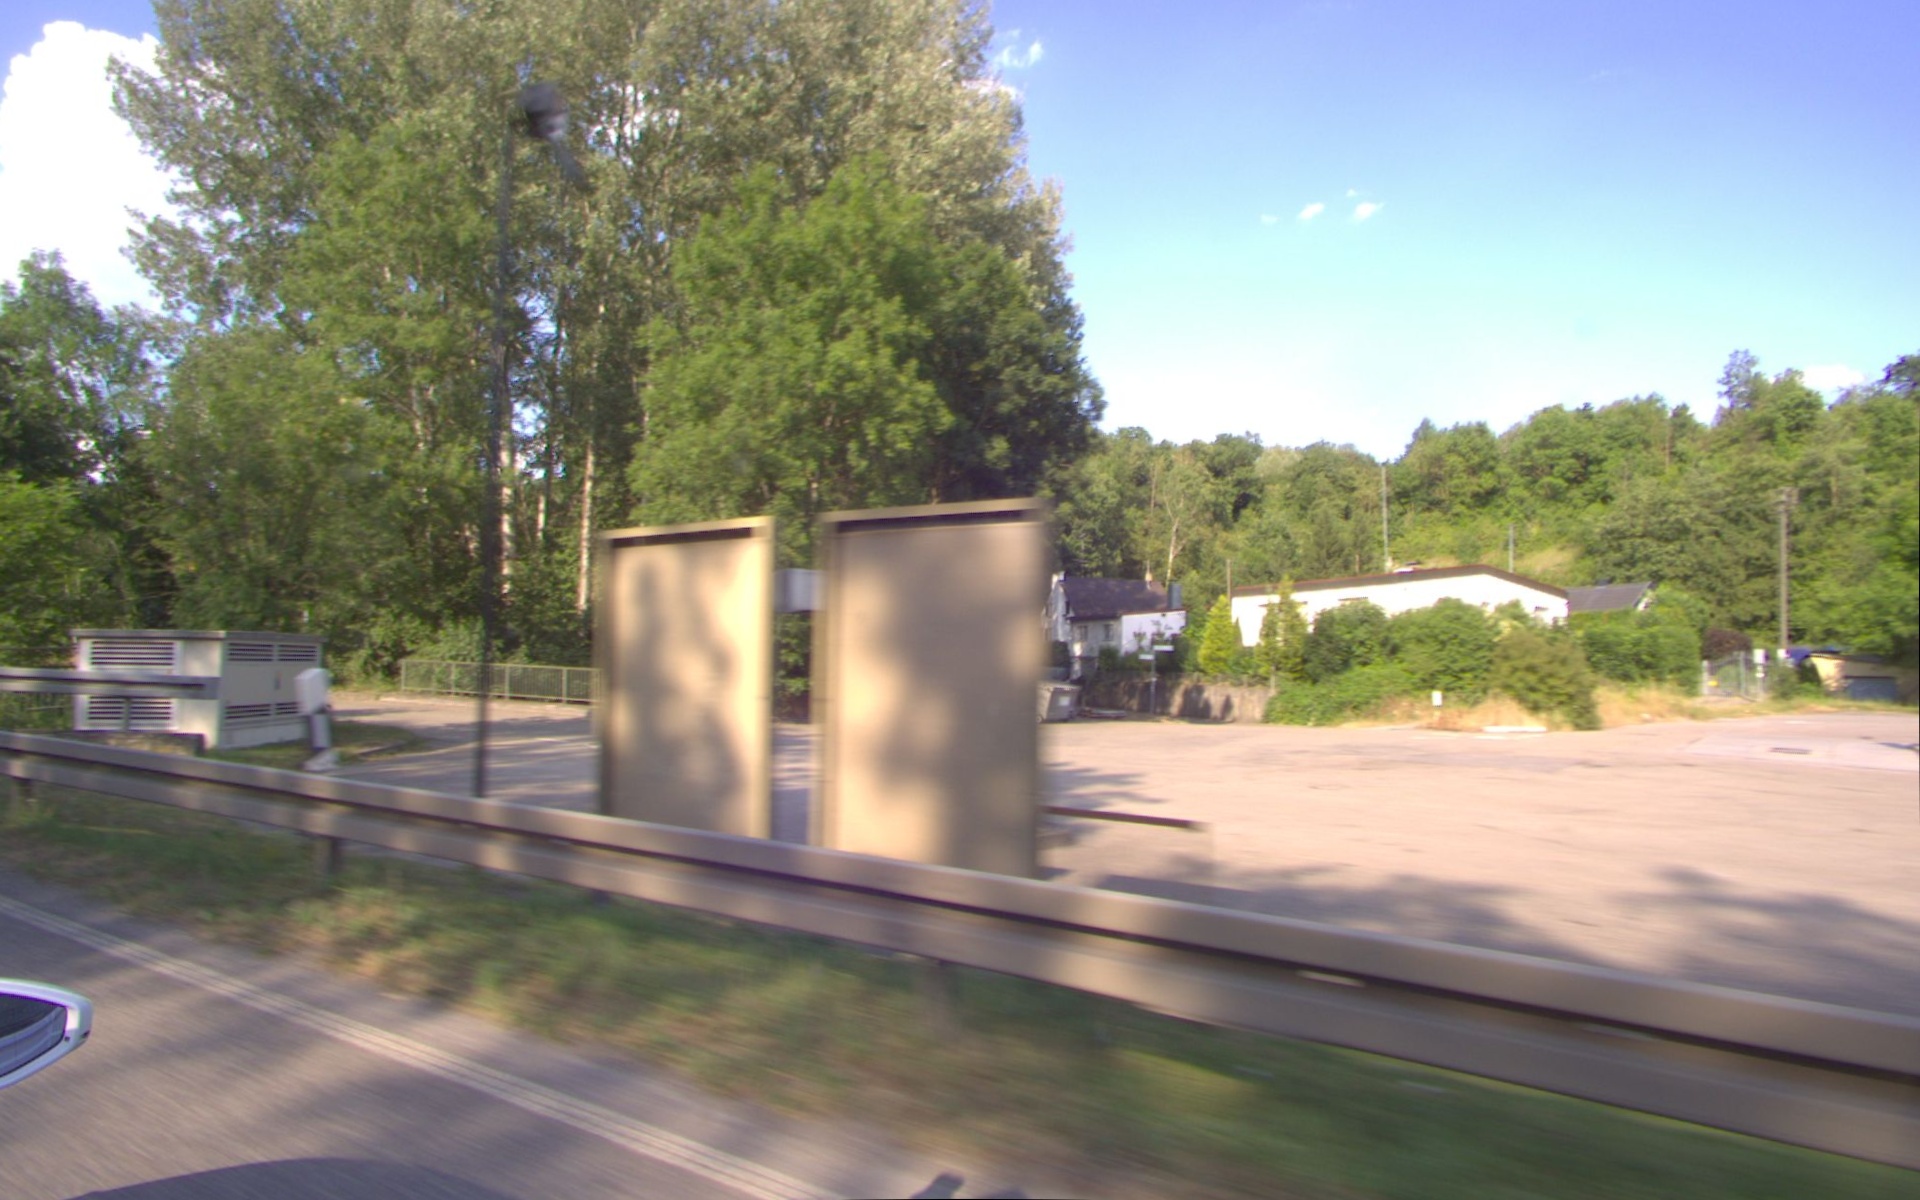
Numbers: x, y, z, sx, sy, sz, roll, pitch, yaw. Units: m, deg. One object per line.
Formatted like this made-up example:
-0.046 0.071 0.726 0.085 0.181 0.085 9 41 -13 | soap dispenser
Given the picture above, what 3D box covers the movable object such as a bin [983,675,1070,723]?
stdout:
2.182 3.236 32.838 2.518 1.436 1.267 0 -5 28 | movable object such as a bin
